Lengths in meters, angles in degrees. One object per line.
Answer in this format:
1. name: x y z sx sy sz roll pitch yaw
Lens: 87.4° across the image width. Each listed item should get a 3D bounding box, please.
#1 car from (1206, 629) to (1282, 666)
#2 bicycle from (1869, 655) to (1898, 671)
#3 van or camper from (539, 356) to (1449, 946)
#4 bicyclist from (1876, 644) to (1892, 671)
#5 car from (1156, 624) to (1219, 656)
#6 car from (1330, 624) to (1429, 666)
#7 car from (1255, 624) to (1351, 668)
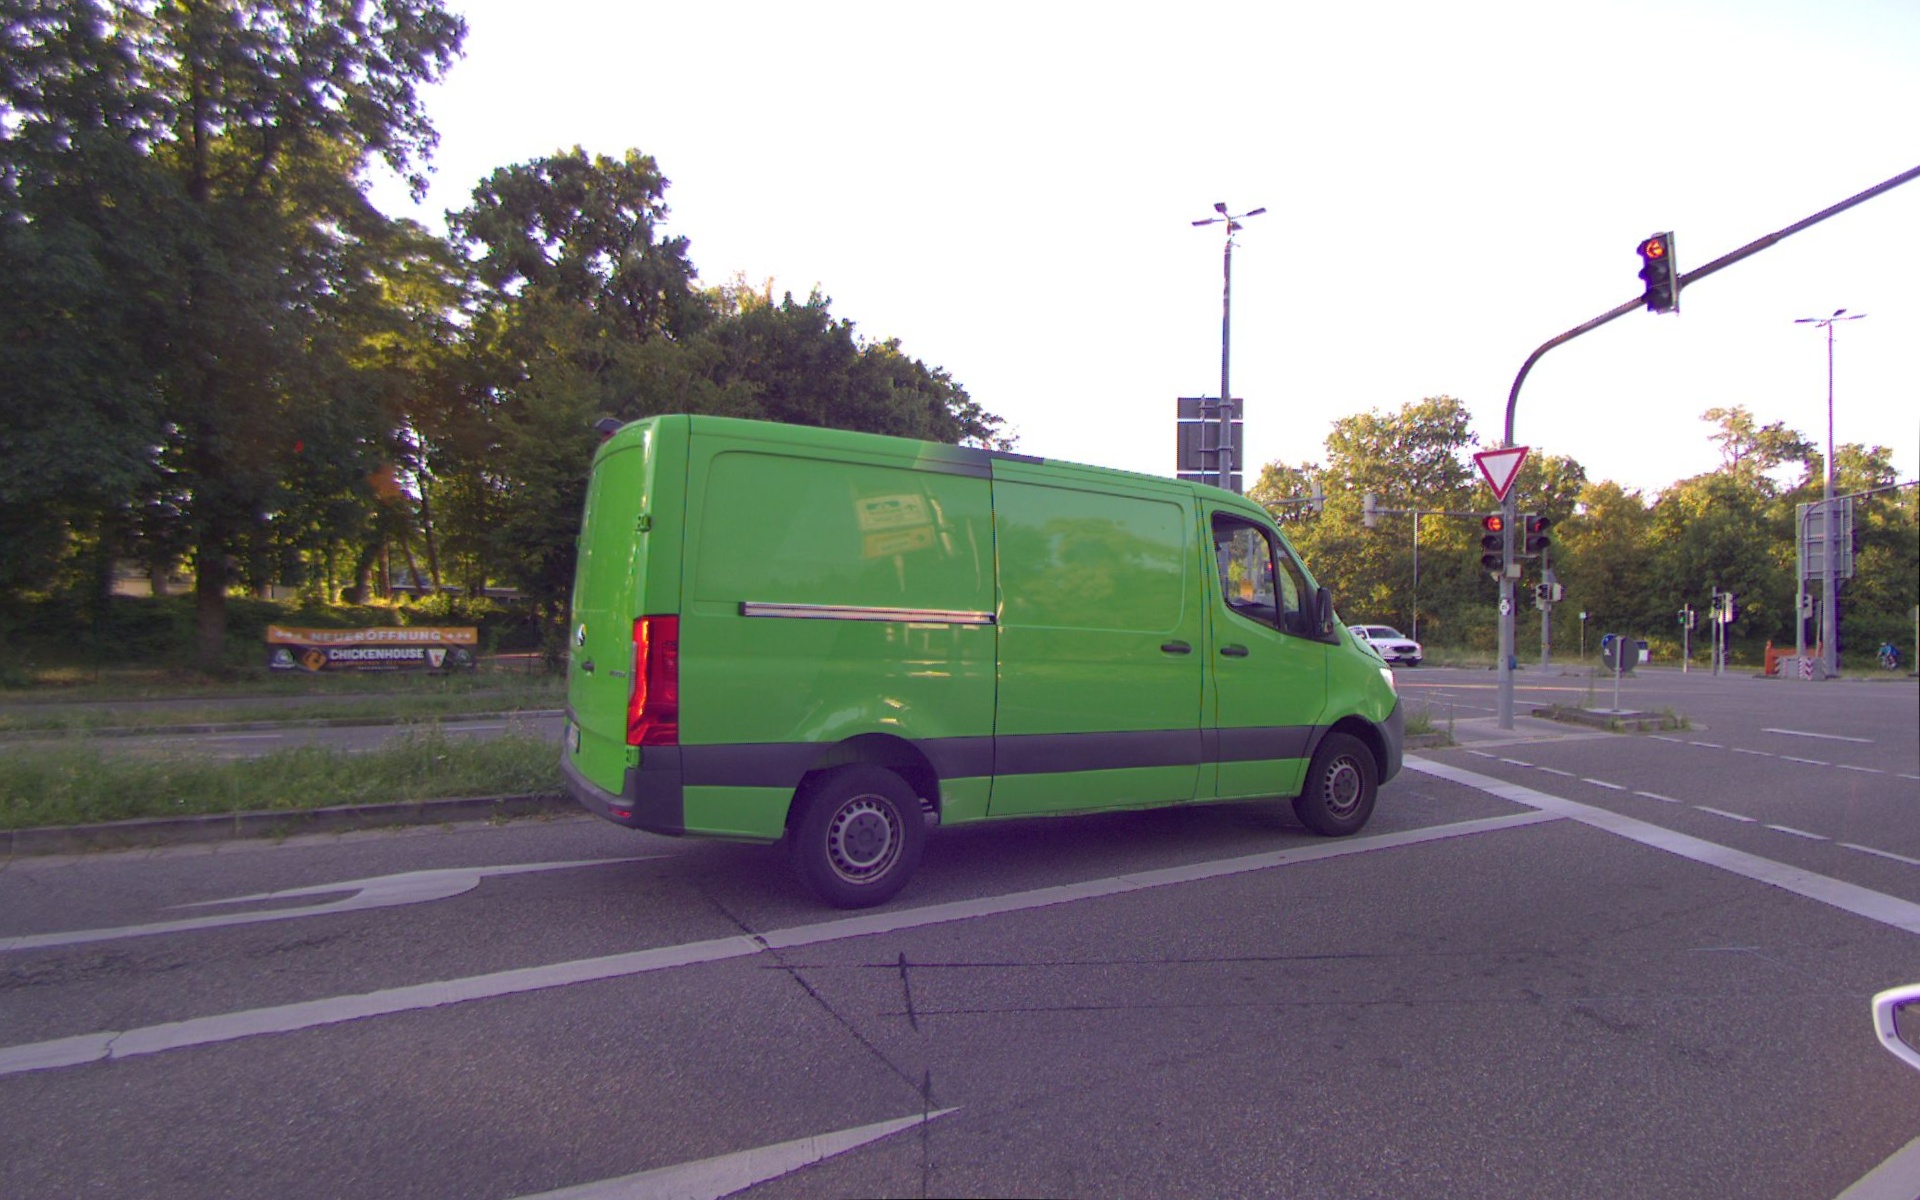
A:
1. car: 13.499 2.223 48.049 1.963 1.661 4.252 1 -1 -8
2. bicycle: 50.373 3.440 54.800 1.084 0.836 0.413 0 -1 20
3. van or camper: 0.540 0.289 6.567 5.830 2.453 1.983 2 -1 -32
4. bicyclist: 50.415 3.133 54.792 0.509 1.406 0.407 0 -1 19
5. car: 12.686 2.213 56.202 1.964 1.661 4.250 1 -1 -10
6. car: 17.496 1.845 42.107 1.963 1.661 4.252 1 -1 -8
7. car: 13.809 1.811 40.700 1.963 1.661 4.252 1 -1 -8
